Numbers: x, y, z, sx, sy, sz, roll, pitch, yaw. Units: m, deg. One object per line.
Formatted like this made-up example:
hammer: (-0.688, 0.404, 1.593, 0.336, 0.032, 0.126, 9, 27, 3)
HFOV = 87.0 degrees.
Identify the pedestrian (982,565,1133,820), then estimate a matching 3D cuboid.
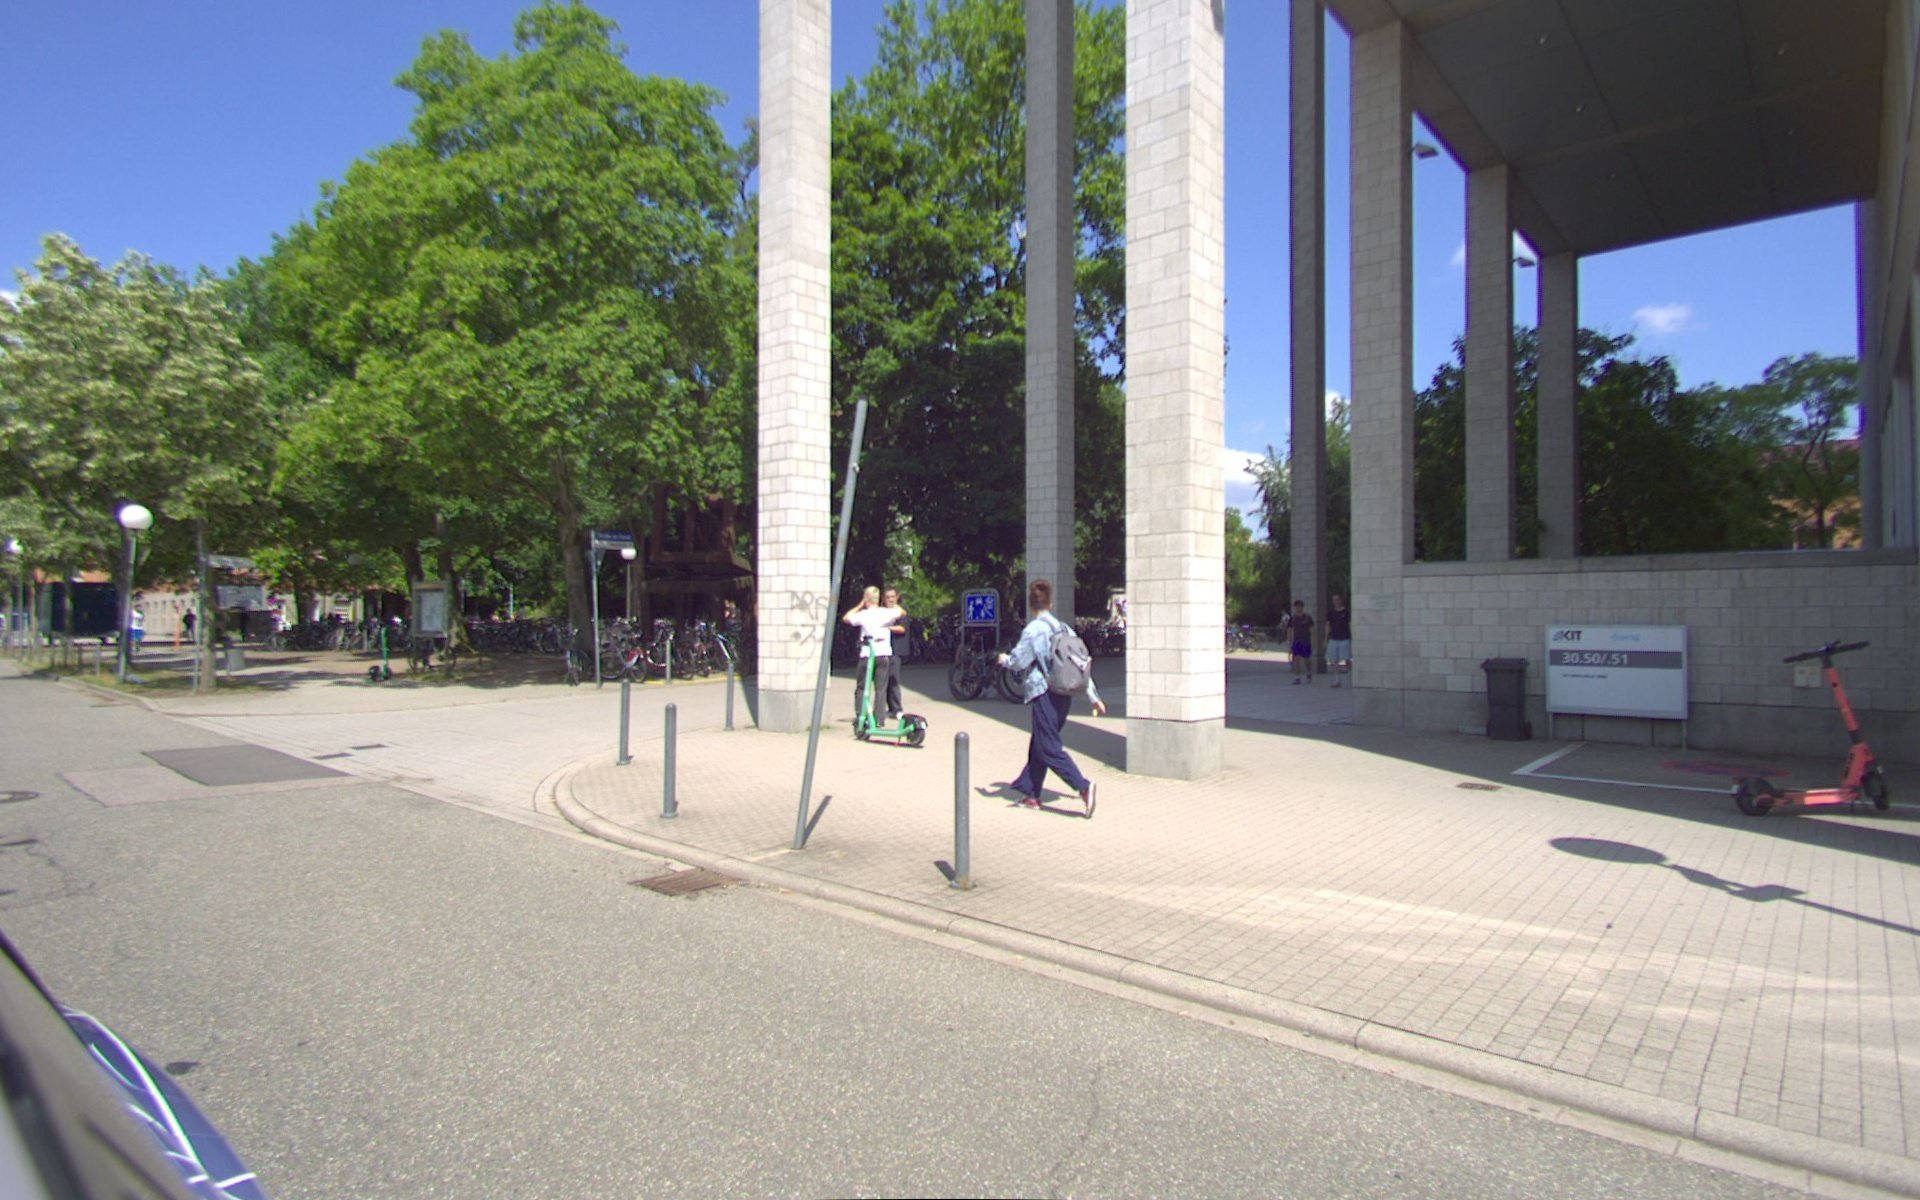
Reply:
pedestrian: (0.705, 0.628, 7.311, 0.886, 1.714, 0.645, -1, -1, 31)

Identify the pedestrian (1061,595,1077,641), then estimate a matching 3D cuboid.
pedestrian: (4.734, 0.782, 43.916, 0.674, 1.948, 0.621, -1, -1, 7)

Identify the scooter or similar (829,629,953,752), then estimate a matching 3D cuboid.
scooter or similar: (-0.774, 0.941, 10.982, 0.449, 1.233, 1.550, 1, -1, -44)

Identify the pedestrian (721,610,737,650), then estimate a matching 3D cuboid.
pedestrian: (-10.139, 1.330, 44.373, 0.539, 1.726, 0.411, -1, 0, 11)

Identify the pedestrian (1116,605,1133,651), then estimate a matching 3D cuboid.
pedestrian: (7.367, 1.265, 45.350, 0.525, 2.029, 0.521, -1, -1, -33)

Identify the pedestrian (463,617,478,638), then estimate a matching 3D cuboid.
pedestrian: (-27.419, 1.534, 56.689, 0.728, 1.203, 0.388, -1, -1, 33)

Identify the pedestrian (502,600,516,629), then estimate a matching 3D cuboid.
pedestrian: (-24.654, 0.787, 55.269, 0.472, 1.534, 0.501, -1, -1, 31)

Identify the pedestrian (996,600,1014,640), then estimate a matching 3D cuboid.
pedestrian: (1.938, 0.861, 43.785, 0.695, 1.683, 0.555, -1, -1, 7)

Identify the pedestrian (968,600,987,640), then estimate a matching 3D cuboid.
pedestrian: (0.749, 0.831, 43.134, 0.721, 1.683, 0.631, -1, -1, 7)

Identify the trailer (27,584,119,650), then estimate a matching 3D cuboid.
trailer: (-43.645, 0.827, 49.721, 6.264, 3.049, 2.668, -1, 0, 42)

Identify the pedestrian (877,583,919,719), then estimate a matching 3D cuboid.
pedestrian: (-0.834, 0.671, 13.586, 0.446, 1.789, 0.441, -1, -1, 11)

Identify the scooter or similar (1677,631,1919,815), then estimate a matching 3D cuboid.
scooter or similar: (6.021, 0.837, 7.096, 1.538, 1.219, 0.526, -1, -1, 5)

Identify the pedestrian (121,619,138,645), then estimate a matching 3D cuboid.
pedestrian: (-50.550, 1.938, 61.574, 0.499, 1.521, 0.735, -1, -1, 43)

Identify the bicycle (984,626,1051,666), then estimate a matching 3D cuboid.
bicycle: (1.628, 1.289, 28.875, 1.972, 1.094, 0.546, -1, 0, 42)

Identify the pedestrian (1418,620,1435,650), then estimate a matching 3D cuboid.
pedestrian: (22.444, 1.663, 48.699, 0.475, 1.413, 0.548, 0, -1, -27)

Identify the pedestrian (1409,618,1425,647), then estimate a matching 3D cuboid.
pedestrian: (26.039, 1.858, 57.689, 0.759, 1.608, 0.389, -1, -1, 41)

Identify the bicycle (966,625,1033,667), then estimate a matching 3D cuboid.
bicycle: (1.091, 1.277, 28.478, 1.972, 1.094, 0.546, -1, 0, 42)

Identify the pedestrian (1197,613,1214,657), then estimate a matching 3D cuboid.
pedestrian: (11.331, 1.607, 46.760, 0.525, 2.029, 0.521, -1, -1, -33)

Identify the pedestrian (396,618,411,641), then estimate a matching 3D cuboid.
pedestrian: (-32.485, 1.717, 59.048, 0.693, 1.281, 0.554, -2, -1, 42)

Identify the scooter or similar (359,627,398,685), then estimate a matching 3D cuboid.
scooter or similar: (-12.436, 1.175, 21.662, 0.334, 1.184, 1.332, -1, 0, -13)

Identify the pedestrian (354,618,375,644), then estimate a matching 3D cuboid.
pedestrian: (-33.228, 1.732, 56.475, 0.734, 1.379, 0.594, -3, -1, 8)

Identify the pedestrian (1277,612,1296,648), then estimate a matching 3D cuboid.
pedestrian: (15.801, 1.460, 48.996, 0.621, 1.708, 0.604, 0, -1, -22)

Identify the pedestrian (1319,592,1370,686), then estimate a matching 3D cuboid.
pedestrian: (7.551, 0.762, 19.887, 0.737, 1.804, 0.617, -1, -1, 43)

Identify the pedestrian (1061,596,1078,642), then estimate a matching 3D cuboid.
pedestrian: (4.656, 0.792, 43.173, 0.688, 1.948, 0.646, -1, -1, 7)

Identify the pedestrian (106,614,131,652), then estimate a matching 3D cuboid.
pedestrian: (-44.842, 1.751, 53.935, 0.906, 1.969, 0.894, -2, 1, -38)

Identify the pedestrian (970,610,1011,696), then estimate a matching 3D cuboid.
pedestrian: (0.503, 0.872, 16.660, 0.442, 1.394, 0.462, -5, -4, 32)

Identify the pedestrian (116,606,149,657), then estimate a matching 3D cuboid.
pedestrian: (-30.568, 1.169, 37.393, 0.986, 1.844, 0.791, -2, -1, 42)

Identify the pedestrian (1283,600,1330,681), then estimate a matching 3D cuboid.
pedestrian: (7.072, 0.814, 20.645, 0.598, 1.605, 0.818, -1, -1, 43)

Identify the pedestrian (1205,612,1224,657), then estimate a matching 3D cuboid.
pedestrian: (11.607, 1.561, 46.216, 0.525, 2.029, 0.594, -1, -1, -33)

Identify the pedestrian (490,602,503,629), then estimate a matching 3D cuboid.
pedestrian: (-25.007, 0.822, 54.600, 0.459, 1.433, 0.501, -1, -1, 32)

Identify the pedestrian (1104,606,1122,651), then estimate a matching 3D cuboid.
pedestrian: (6.992, 1.300, 46.270, 0.525, 2.029, 0.577, -1, -1, -33)

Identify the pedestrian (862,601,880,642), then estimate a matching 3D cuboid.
pedestrian: (-3.715, 0.905, 42.233, 0.623, 1.683, 0.576, -1, -1, 7)

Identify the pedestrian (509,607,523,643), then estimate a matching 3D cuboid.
pedestrian: (-20.295, 1.156, 46.229, 0.348, 1.626, 0.458, -1, 0, 19)

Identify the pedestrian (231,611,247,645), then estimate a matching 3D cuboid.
pedestrian: (-39.749, 1.523, 55.796, 0.805, 1.862, 0.524, -2, -1, 42)

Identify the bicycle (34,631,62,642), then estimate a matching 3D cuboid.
bicycle: (-86.145, 3.429, 95.591, 0.541, 1.038, 1.930, -1, -1, 40)

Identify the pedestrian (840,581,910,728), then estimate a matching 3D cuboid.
pedestrian: (-1.057, 0.671, 12.686, 0.729, 1.789, 0.635, -1, -1, 9)

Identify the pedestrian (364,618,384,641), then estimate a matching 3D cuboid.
pedestrian: (-32.400, 1.619, 55.947, 0.734, 1.243, 0.594, -3, -1, 8)

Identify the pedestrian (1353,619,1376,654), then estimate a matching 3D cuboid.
pedestrian: (19.329, 1.728, 48.356, 0.780, 1.628, 0.716, 1, 0, 45)

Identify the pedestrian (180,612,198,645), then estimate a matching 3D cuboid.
pedestrian: (-40.229, 1.490, 52.817, 0.643, 1.678, 0.623, -1, -1, 43)

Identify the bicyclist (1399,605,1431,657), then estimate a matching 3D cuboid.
bicyclist: (17.962, 1.199, 39.921, 0.837, 2.029, 0.877, 0, -1, -44)

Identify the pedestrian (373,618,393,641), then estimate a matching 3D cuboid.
pedestrian: (-32.244, 1.621, 56.572, 0.734, 1.243, 0.594, -3, -1, 8)

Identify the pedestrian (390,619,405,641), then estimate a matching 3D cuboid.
pedestrian: (-33.198, 1.770, 59.709, 0.693, 1.281, 0.554, -2, -1, 42)

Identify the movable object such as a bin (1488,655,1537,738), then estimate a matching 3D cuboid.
movable object such as a bin: (6.207, 1.077, 11.371, 0.447, 0.901, 0.167, -1, -1, 37)
